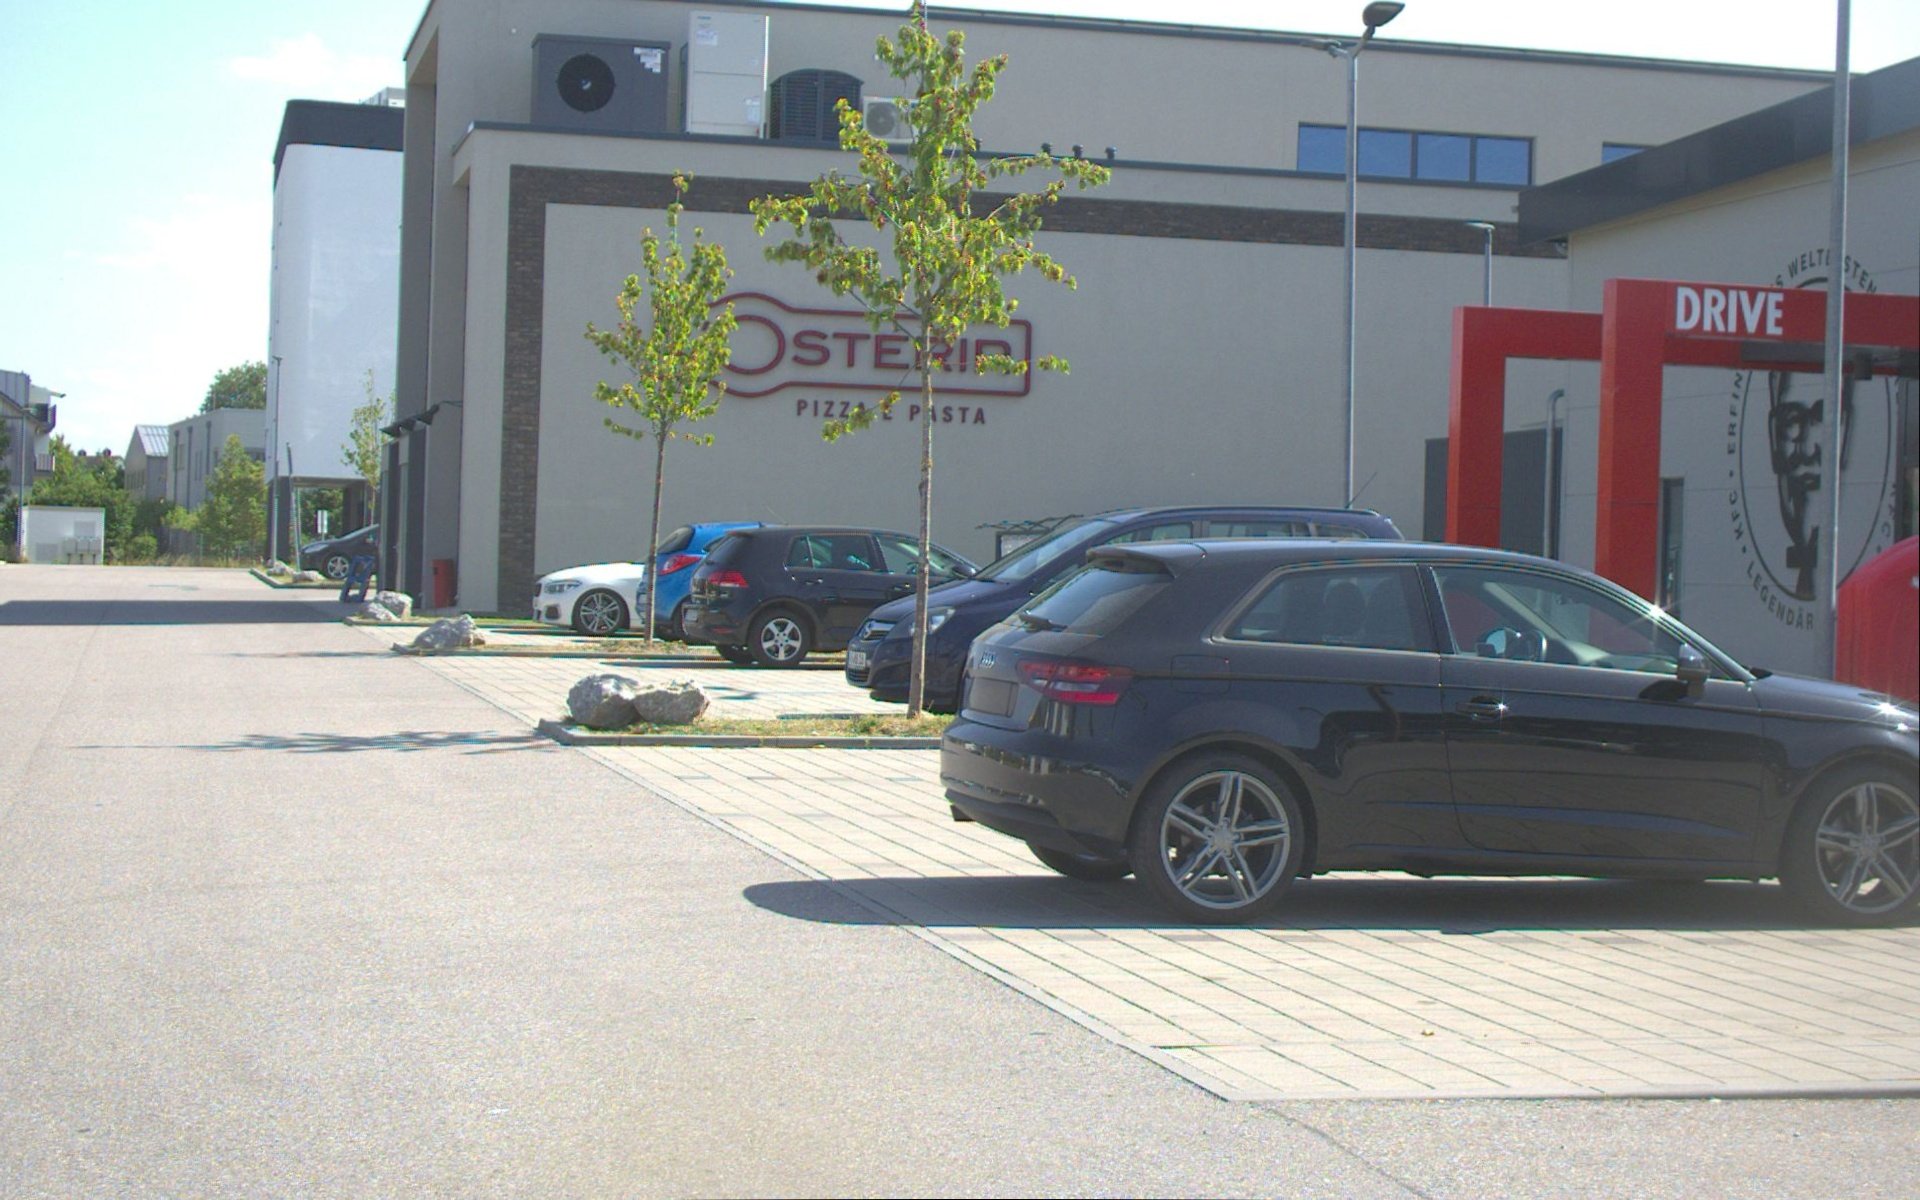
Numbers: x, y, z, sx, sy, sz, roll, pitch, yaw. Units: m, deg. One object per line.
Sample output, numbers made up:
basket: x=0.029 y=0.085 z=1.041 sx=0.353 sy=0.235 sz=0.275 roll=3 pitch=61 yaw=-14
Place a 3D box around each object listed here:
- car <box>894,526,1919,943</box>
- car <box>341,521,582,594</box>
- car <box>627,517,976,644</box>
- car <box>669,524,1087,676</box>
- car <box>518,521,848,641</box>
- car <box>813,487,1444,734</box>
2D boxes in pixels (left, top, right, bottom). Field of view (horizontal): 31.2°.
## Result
car: x=2.001 y=0.510 z=13.490 sx=4.199 sy=1.436 sz=1.699 roll=2 pitch=1 yaw=-14
car: x=-8.792 y=-0.751 z=60.532 sx=3.986 sy=1.152 sz=2.001 roll=1 pitch=1 yaw=-14
car: x=-1.974 y=-0.242 z=42.467 sx=3.985 sy=1.415 sz=1.651 roll=2 pitch=1 yaw=-16
car: x=-0.860 y=-0.005 z=35.578 sx=3.985 sy=1.415 sz=1.651 roll=2 pitch=1 yaw=-16
car: x=-3.617 y=-0.252 z=44.788 sx=3.985 sy=1.415 sz=1.651 roll=2 pitch=1 yaw=-16
car: x=1.250 y=0.078 z=25.775 sx=4.368 sy=1.679 sz=1.642 roll=2 pitch=1 yaw=-18
